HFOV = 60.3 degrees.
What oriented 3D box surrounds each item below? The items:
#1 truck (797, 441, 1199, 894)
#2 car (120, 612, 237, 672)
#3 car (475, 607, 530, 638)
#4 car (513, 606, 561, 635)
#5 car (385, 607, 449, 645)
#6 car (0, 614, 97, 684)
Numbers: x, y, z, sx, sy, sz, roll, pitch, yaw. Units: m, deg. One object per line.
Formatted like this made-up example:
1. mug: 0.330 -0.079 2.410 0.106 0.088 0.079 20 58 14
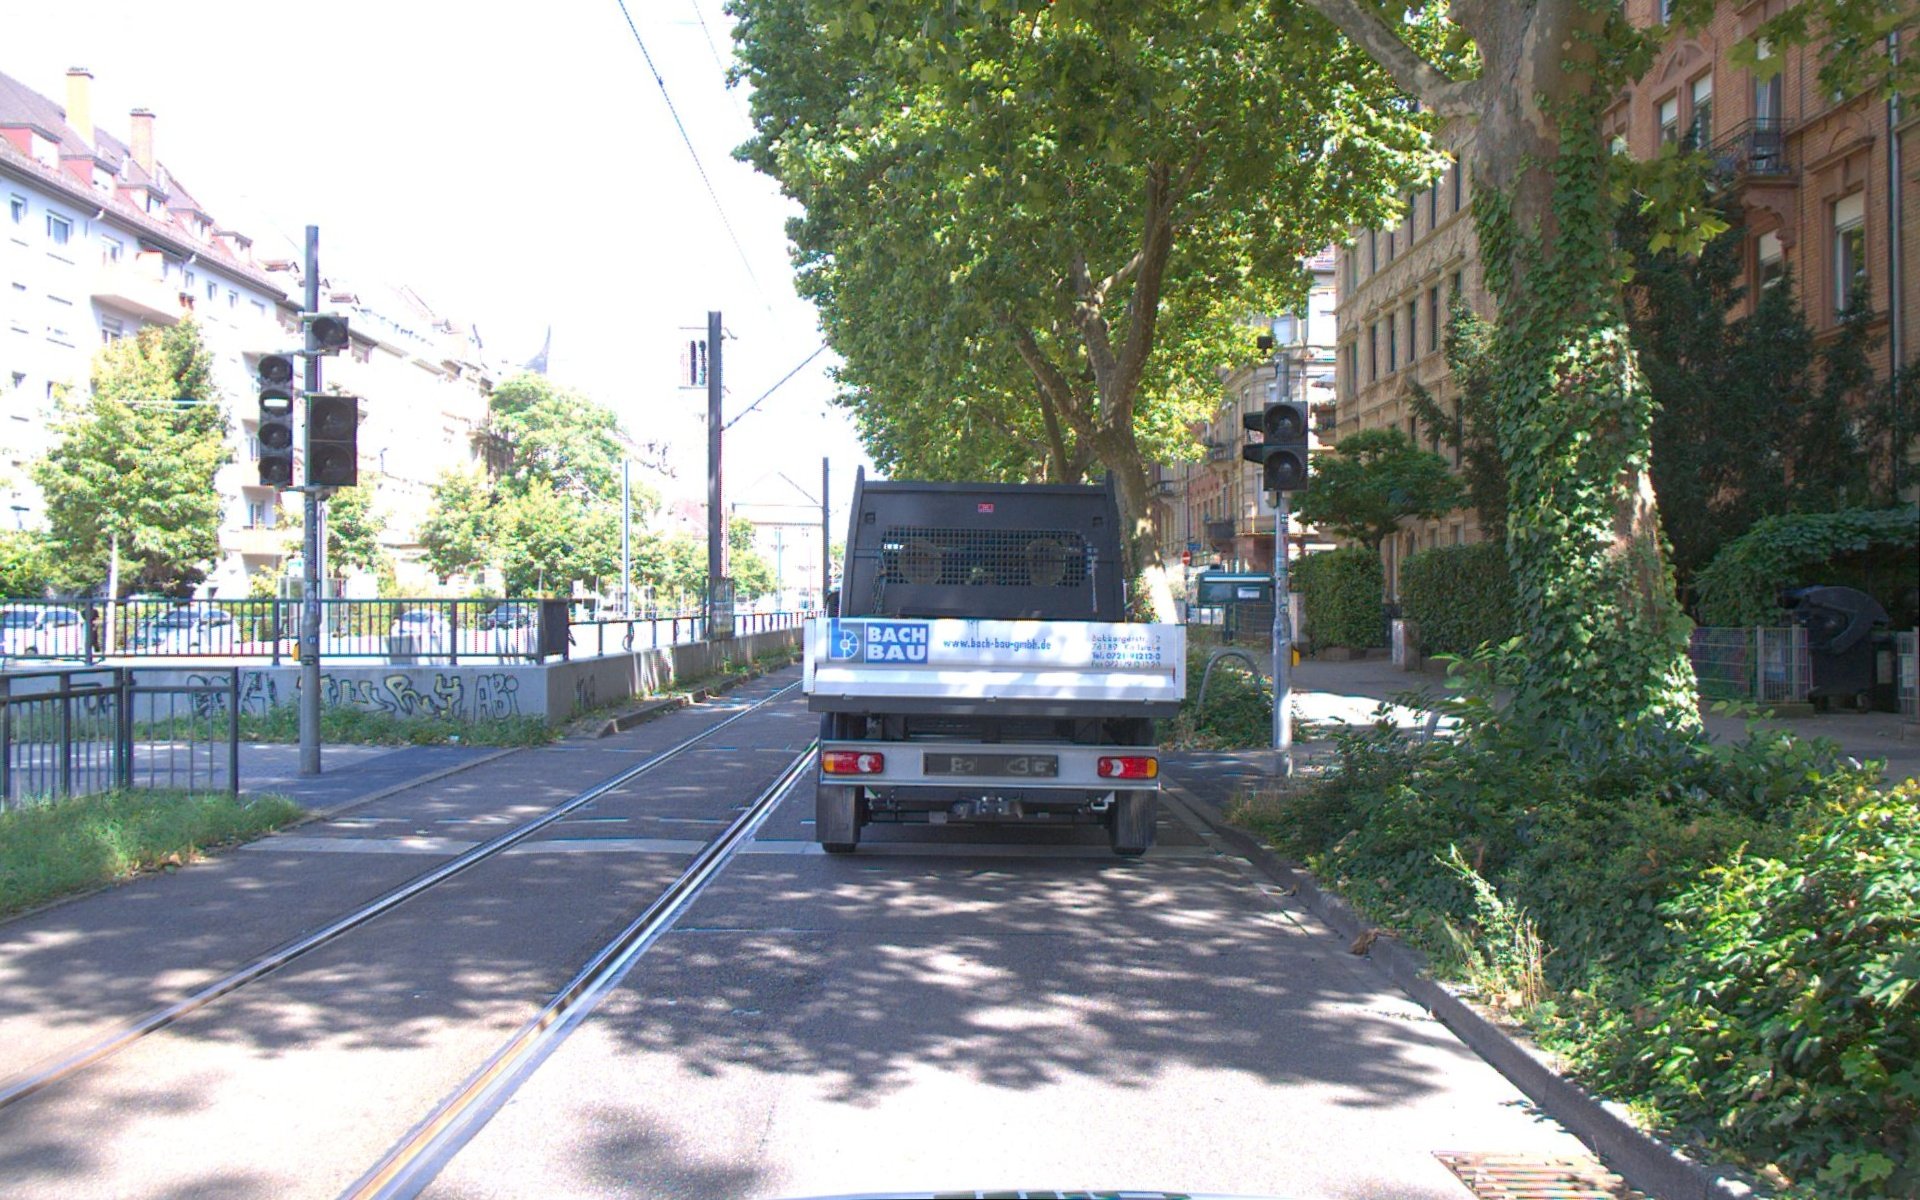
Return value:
1. truck: 0.210 0.359 10.865 2.094 2.359 4.401 0 0 0
2. car: -22.050 1.151 46.834 1.737 1.524 3.994 -2 0 -6
3. car: -22.684 1.092 82.049 1.735 1.524 3.998 0 0 -2
4. car: -22.950 1.120 89.882 1.735 1.524 3.998 0 0 -2
5. car: -22.443 1.042 68.453 1.736 1.524 3.994 0 0 -6
6. car: -21.826 1.116 38.476 1.737 1.524 3.994 -2 0 -6
